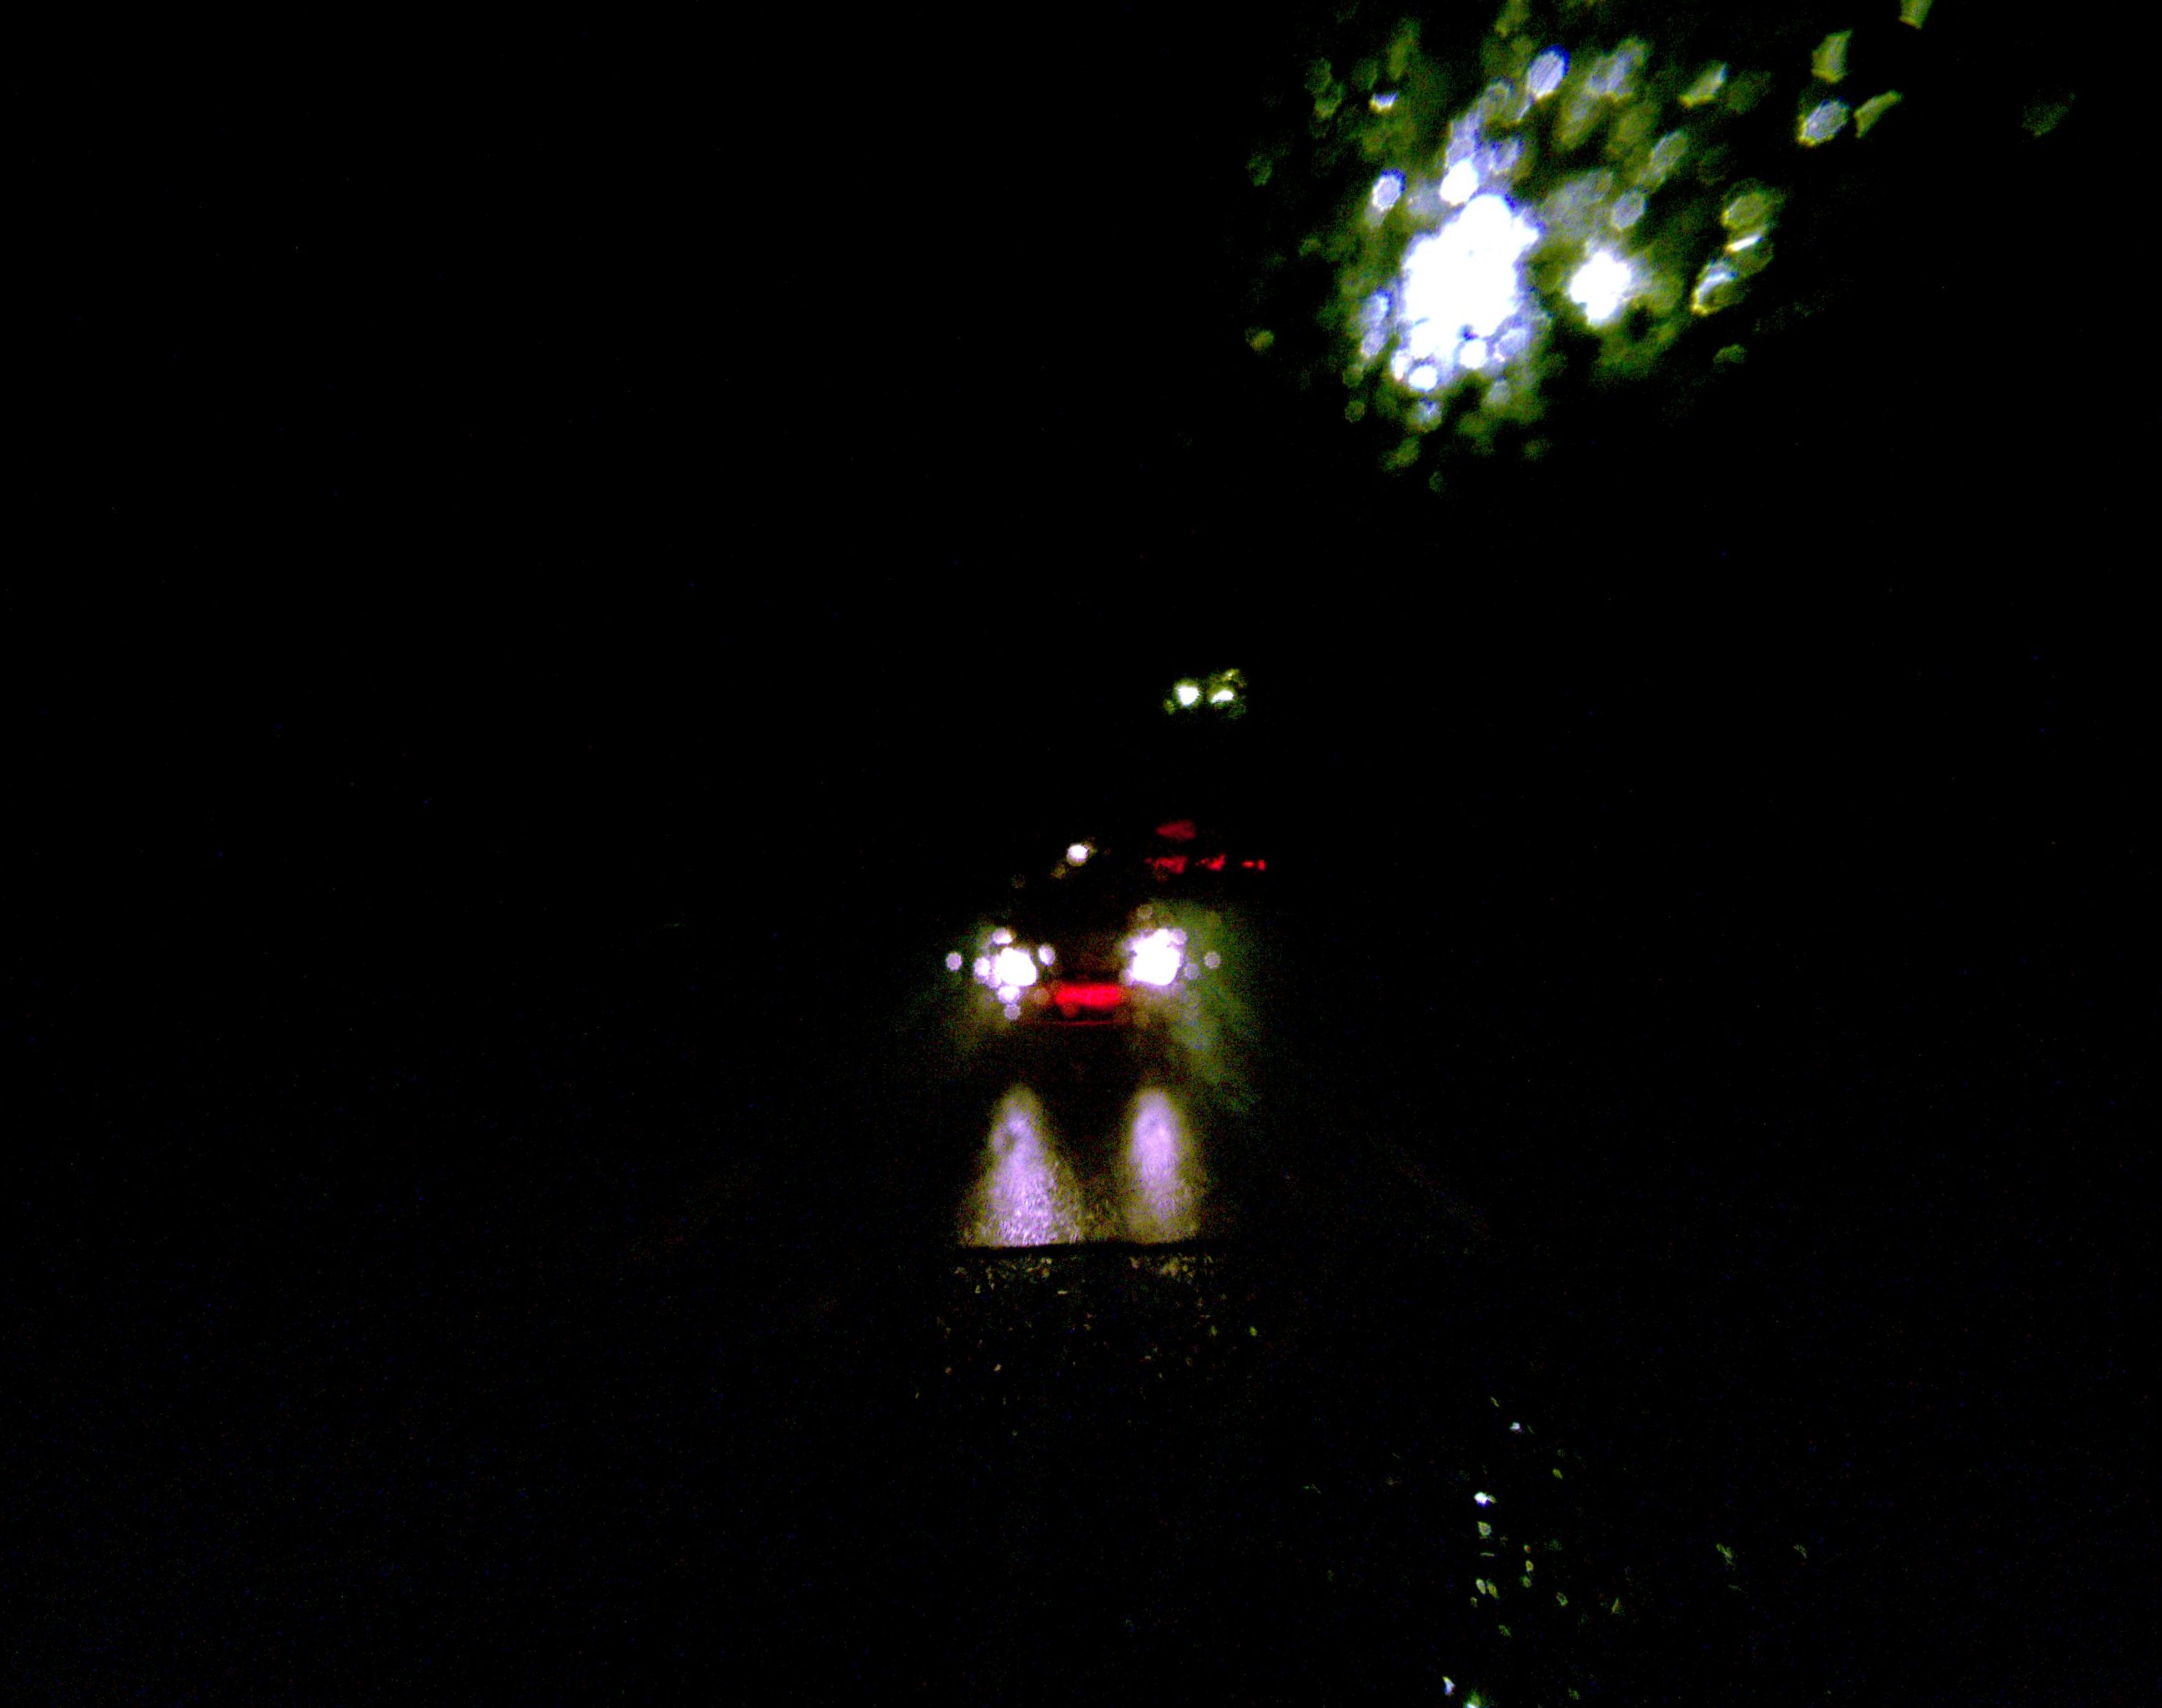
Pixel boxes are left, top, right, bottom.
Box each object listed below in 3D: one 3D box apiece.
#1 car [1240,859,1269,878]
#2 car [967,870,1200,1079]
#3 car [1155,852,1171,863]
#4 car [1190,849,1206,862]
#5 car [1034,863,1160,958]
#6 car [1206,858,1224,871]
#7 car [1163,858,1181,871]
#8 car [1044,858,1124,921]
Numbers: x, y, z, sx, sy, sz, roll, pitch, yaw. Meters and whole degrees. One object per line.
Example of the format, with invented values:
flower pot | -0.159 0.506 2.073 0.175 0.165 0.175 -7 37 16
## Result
car | 16.067 1.295 70.576 1.866 1.637 4.000 -2 0 2
car | 0.043 0.975 7.884 1.764 1.492 4.000 -2 0 1
car | 12.039 0.498 111.411 1.788 1.637 3.999 -2 0 -1
car | 19.759 0.274 128.638 1.998 2.002 4.000 -2 0 1
car | 0.284 0.924 14.205 1.998 1.455 4.000 -1 0 1
car | 18.636 1.460 106.033 1.817 1.637 4.000 -2 0 2
car | 11.492 1.319 96.110 1.788 1.637 4.000 -2 0 0
car | 0.105 0.901 21.160 1.998 1.531 4.000 -1 0 1
